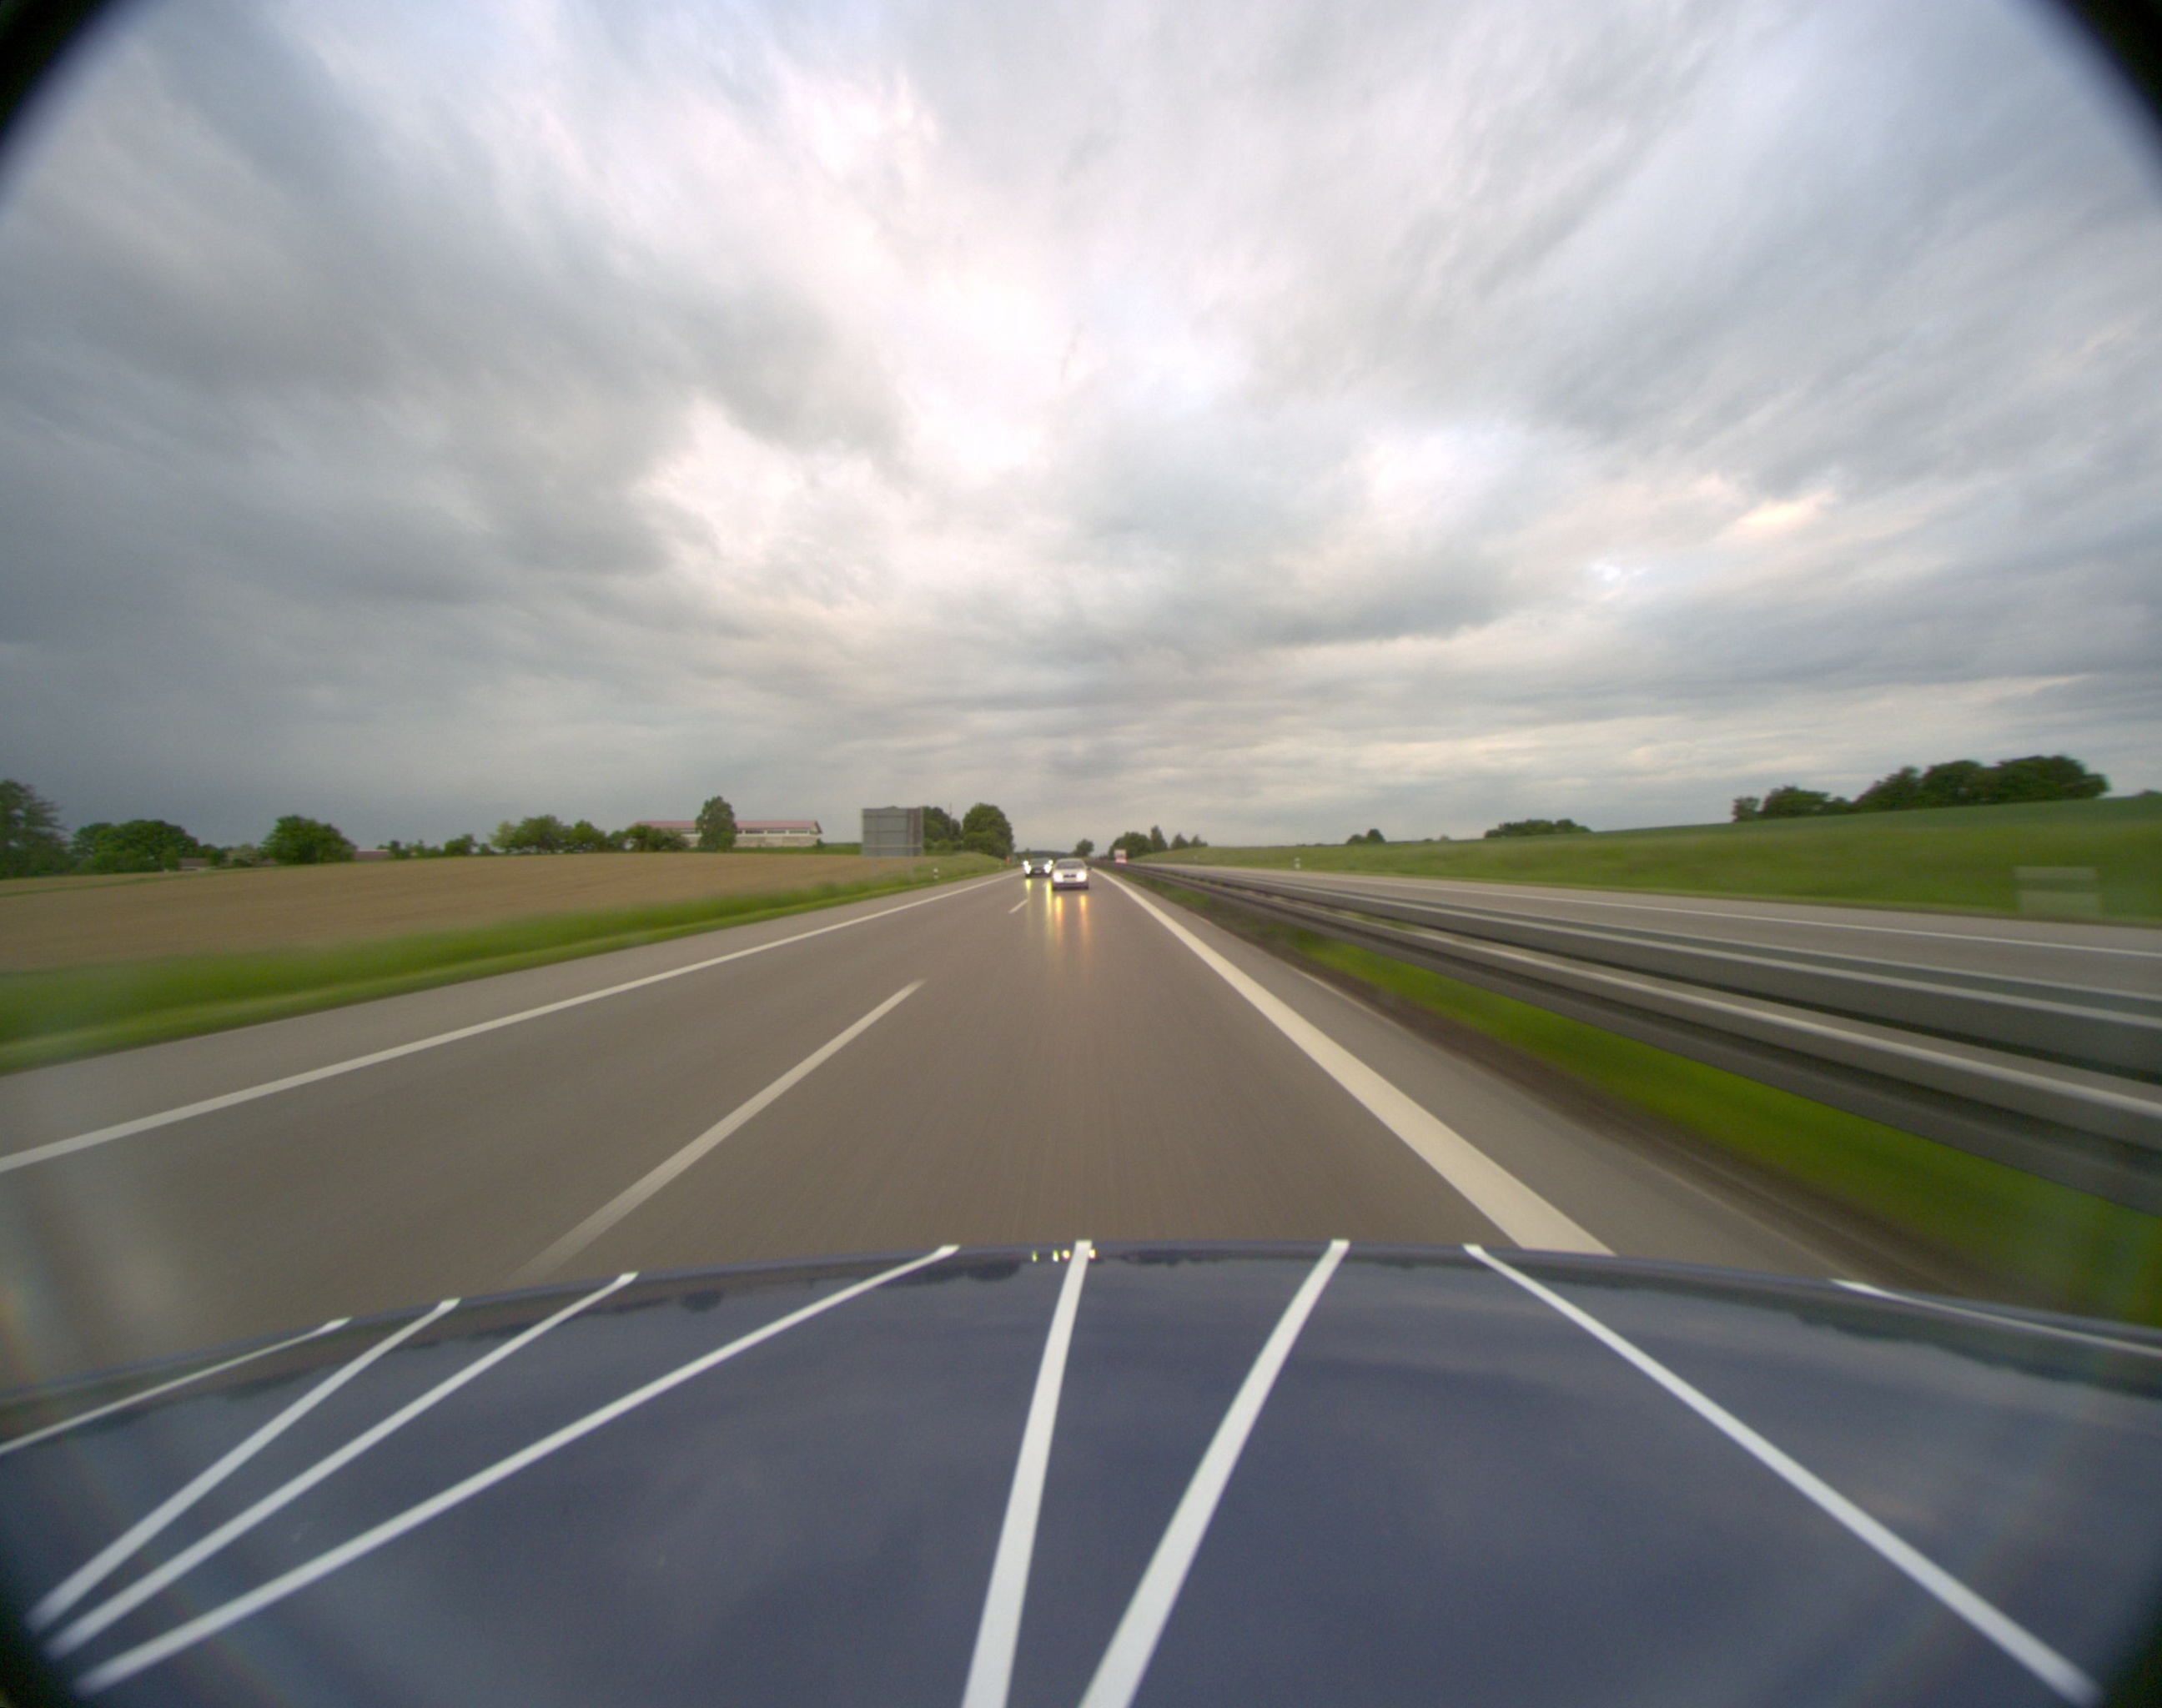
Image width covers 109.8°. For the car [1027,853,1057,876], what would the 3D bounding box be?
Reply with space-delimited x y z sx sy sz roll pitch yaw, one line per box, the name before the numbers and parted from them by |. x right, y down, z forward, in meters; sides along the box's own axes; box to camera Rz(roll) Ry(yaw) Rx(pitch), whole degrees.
car | -2.999 0.752 58.837 1.951 1.620 4.535 -1 1 2

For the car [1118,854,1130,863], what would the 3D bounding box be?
car | 7.663 0.771 136.995 1.733 1.478 4.930 -3 1 -1

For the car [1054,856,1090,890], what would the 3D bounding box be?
car | -0.427 0.831 35.309 1.592 1.381 4.600 0 1 -1

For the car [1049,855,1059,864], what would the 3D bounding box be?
car | -4.881 0.980 136.532 1.807 1.619 3.902 -1 1 -2

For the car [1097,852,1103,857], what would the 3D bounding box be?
car | 5.878 0.196 234.455 1.553 1.363 3.797 -3 1 -2
